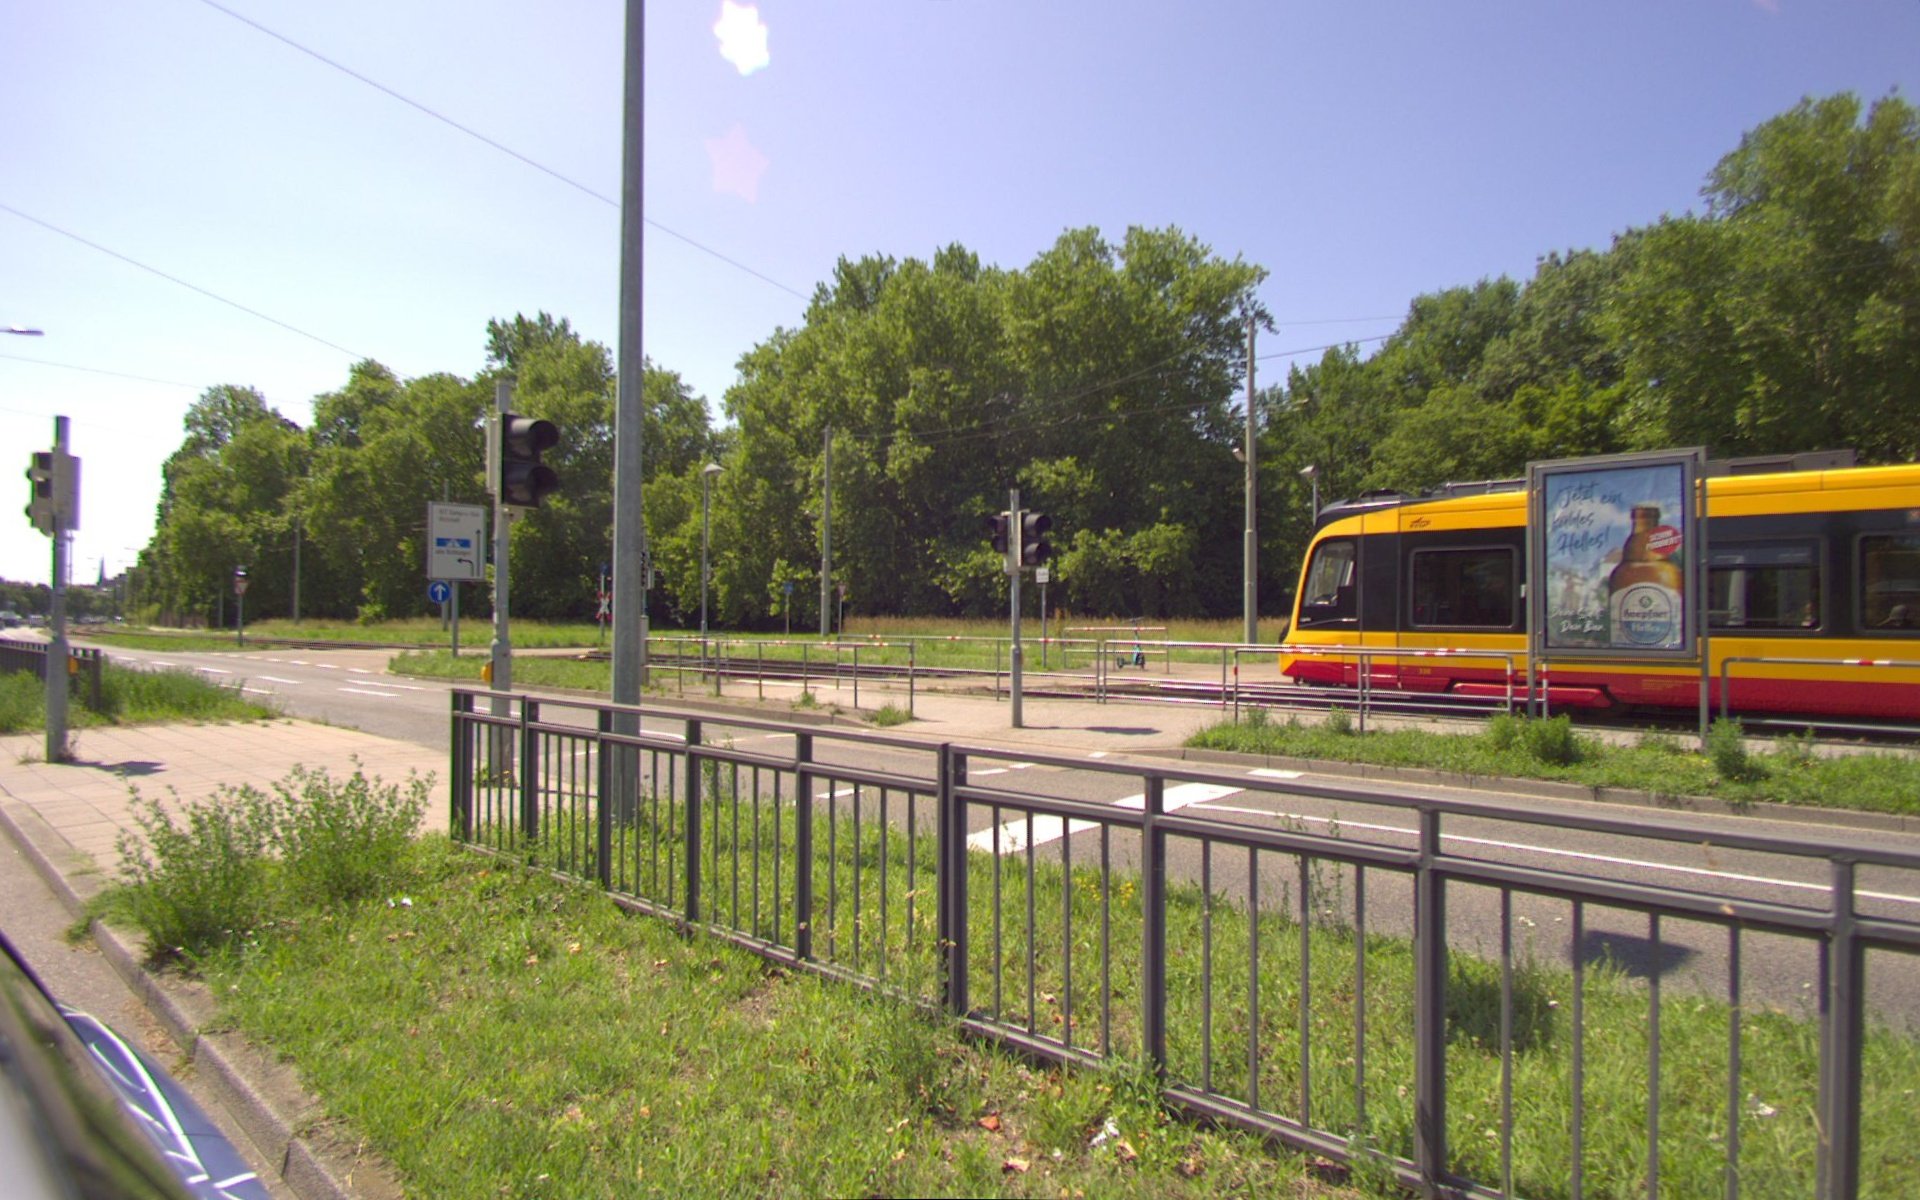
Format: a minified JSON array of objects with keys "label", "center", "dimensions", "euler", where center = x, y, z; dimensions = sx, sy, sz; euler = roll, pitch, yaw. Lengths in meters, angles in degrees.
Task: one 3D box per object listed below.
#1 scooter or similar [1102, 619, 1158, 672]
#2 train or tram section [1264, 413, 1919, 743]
[{"label":"scooter or similar","center":[4.187,1.102,24.950],"dimensions":[1.100,1.246,0.761],"euler":[-1,0,41]},{"label":"train or tram section","center":[10.501,-0.235,14.572],"dimensions":[11.534,3.884,2.919],"euler":[-1,0,41]}]
